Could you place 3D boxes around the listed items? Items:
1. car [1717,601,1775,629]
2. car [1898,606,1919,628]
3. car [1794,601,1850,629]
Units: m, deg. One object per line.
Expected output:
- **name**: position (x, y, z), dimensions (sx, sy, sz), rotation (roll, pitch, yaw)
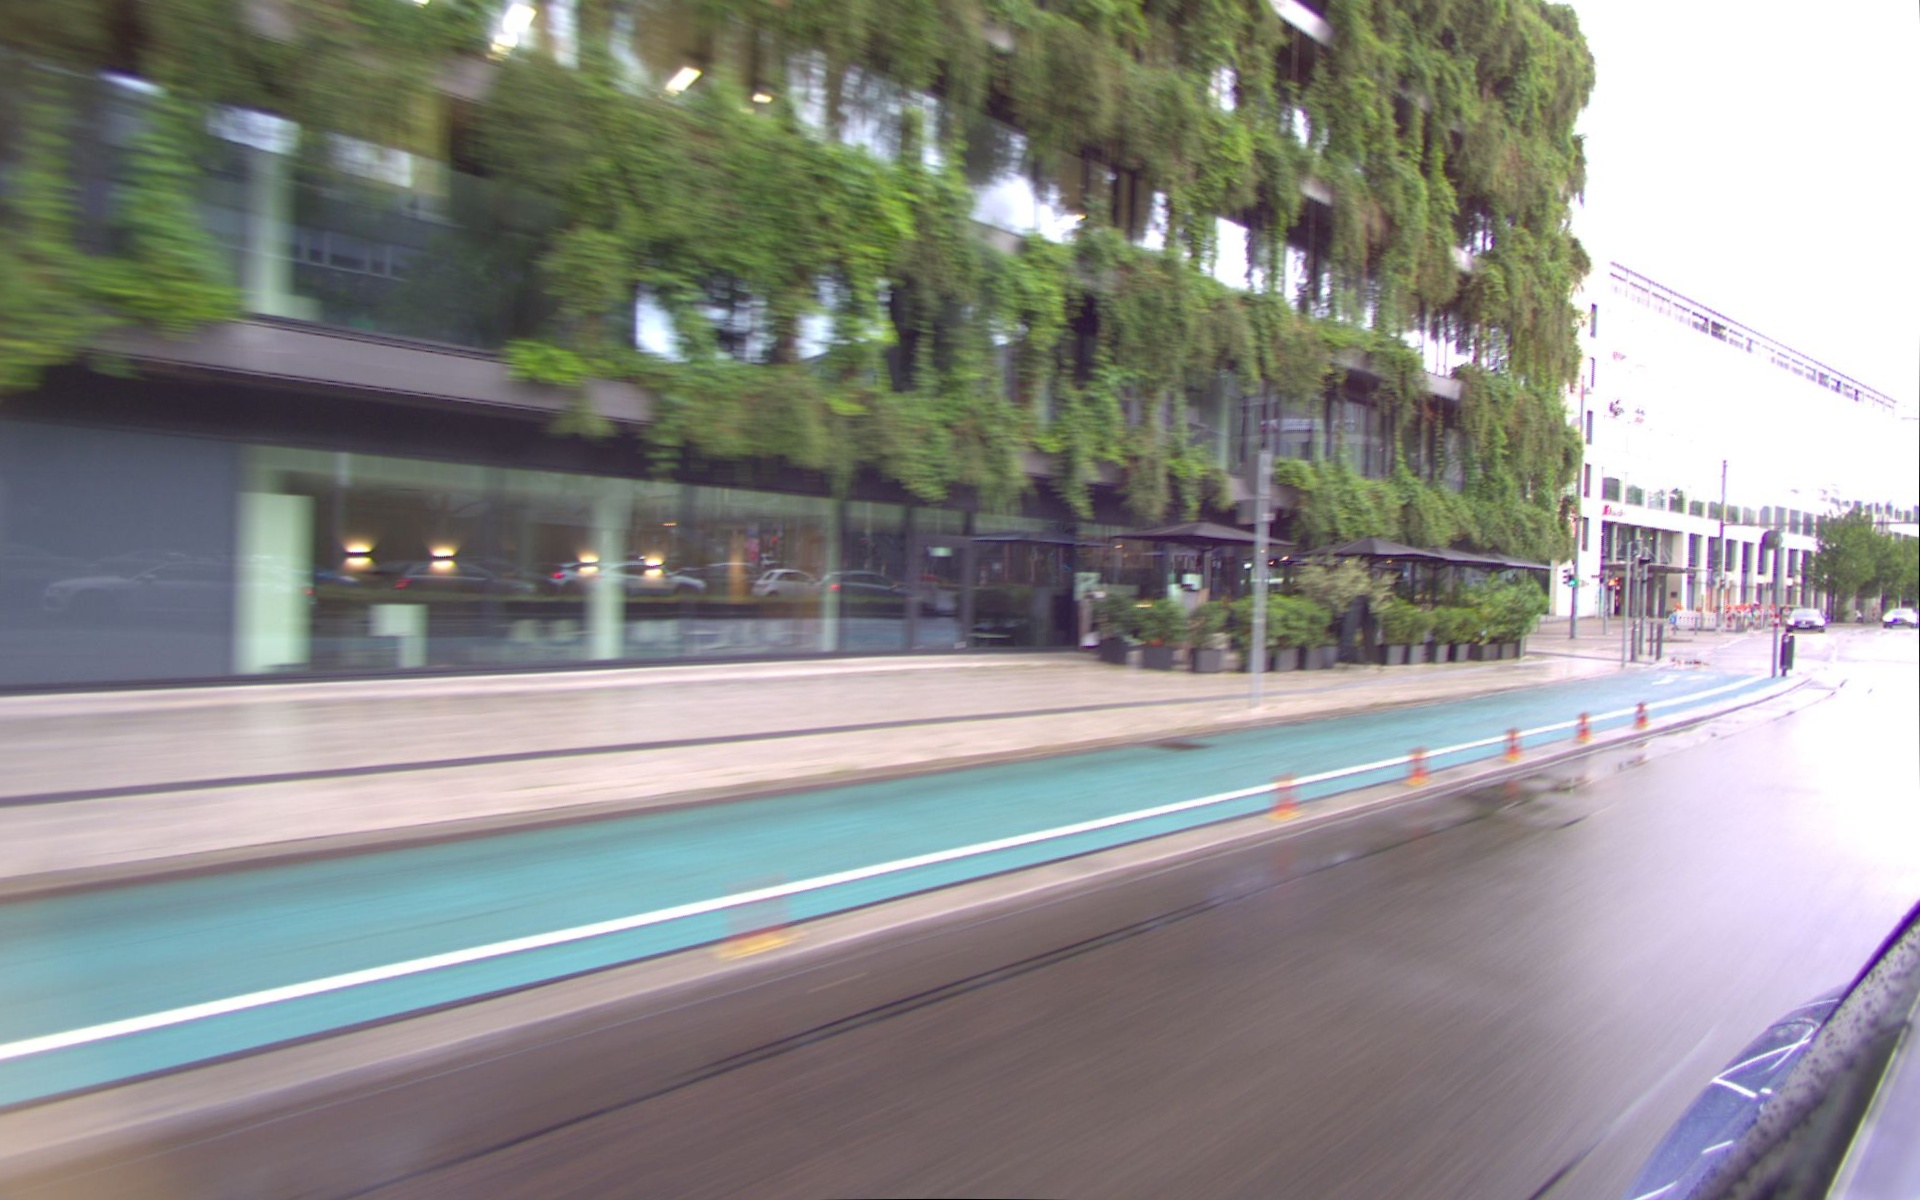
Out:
- **car**: position (46.772, 0.887, 60.185), dimensions (4.586, 1.572, 1.739), rotation (0, 1, -39)
- **car**: position (71.664, 1.274, 75.586), dimensions (4.586, 1.572, 1.739), rotation (0, 1, -39)
- **car**: position (51.704, 0.868, 60.677), dimensions (4.586, 1.572, 1.739), rotation (0, 0, -39)
